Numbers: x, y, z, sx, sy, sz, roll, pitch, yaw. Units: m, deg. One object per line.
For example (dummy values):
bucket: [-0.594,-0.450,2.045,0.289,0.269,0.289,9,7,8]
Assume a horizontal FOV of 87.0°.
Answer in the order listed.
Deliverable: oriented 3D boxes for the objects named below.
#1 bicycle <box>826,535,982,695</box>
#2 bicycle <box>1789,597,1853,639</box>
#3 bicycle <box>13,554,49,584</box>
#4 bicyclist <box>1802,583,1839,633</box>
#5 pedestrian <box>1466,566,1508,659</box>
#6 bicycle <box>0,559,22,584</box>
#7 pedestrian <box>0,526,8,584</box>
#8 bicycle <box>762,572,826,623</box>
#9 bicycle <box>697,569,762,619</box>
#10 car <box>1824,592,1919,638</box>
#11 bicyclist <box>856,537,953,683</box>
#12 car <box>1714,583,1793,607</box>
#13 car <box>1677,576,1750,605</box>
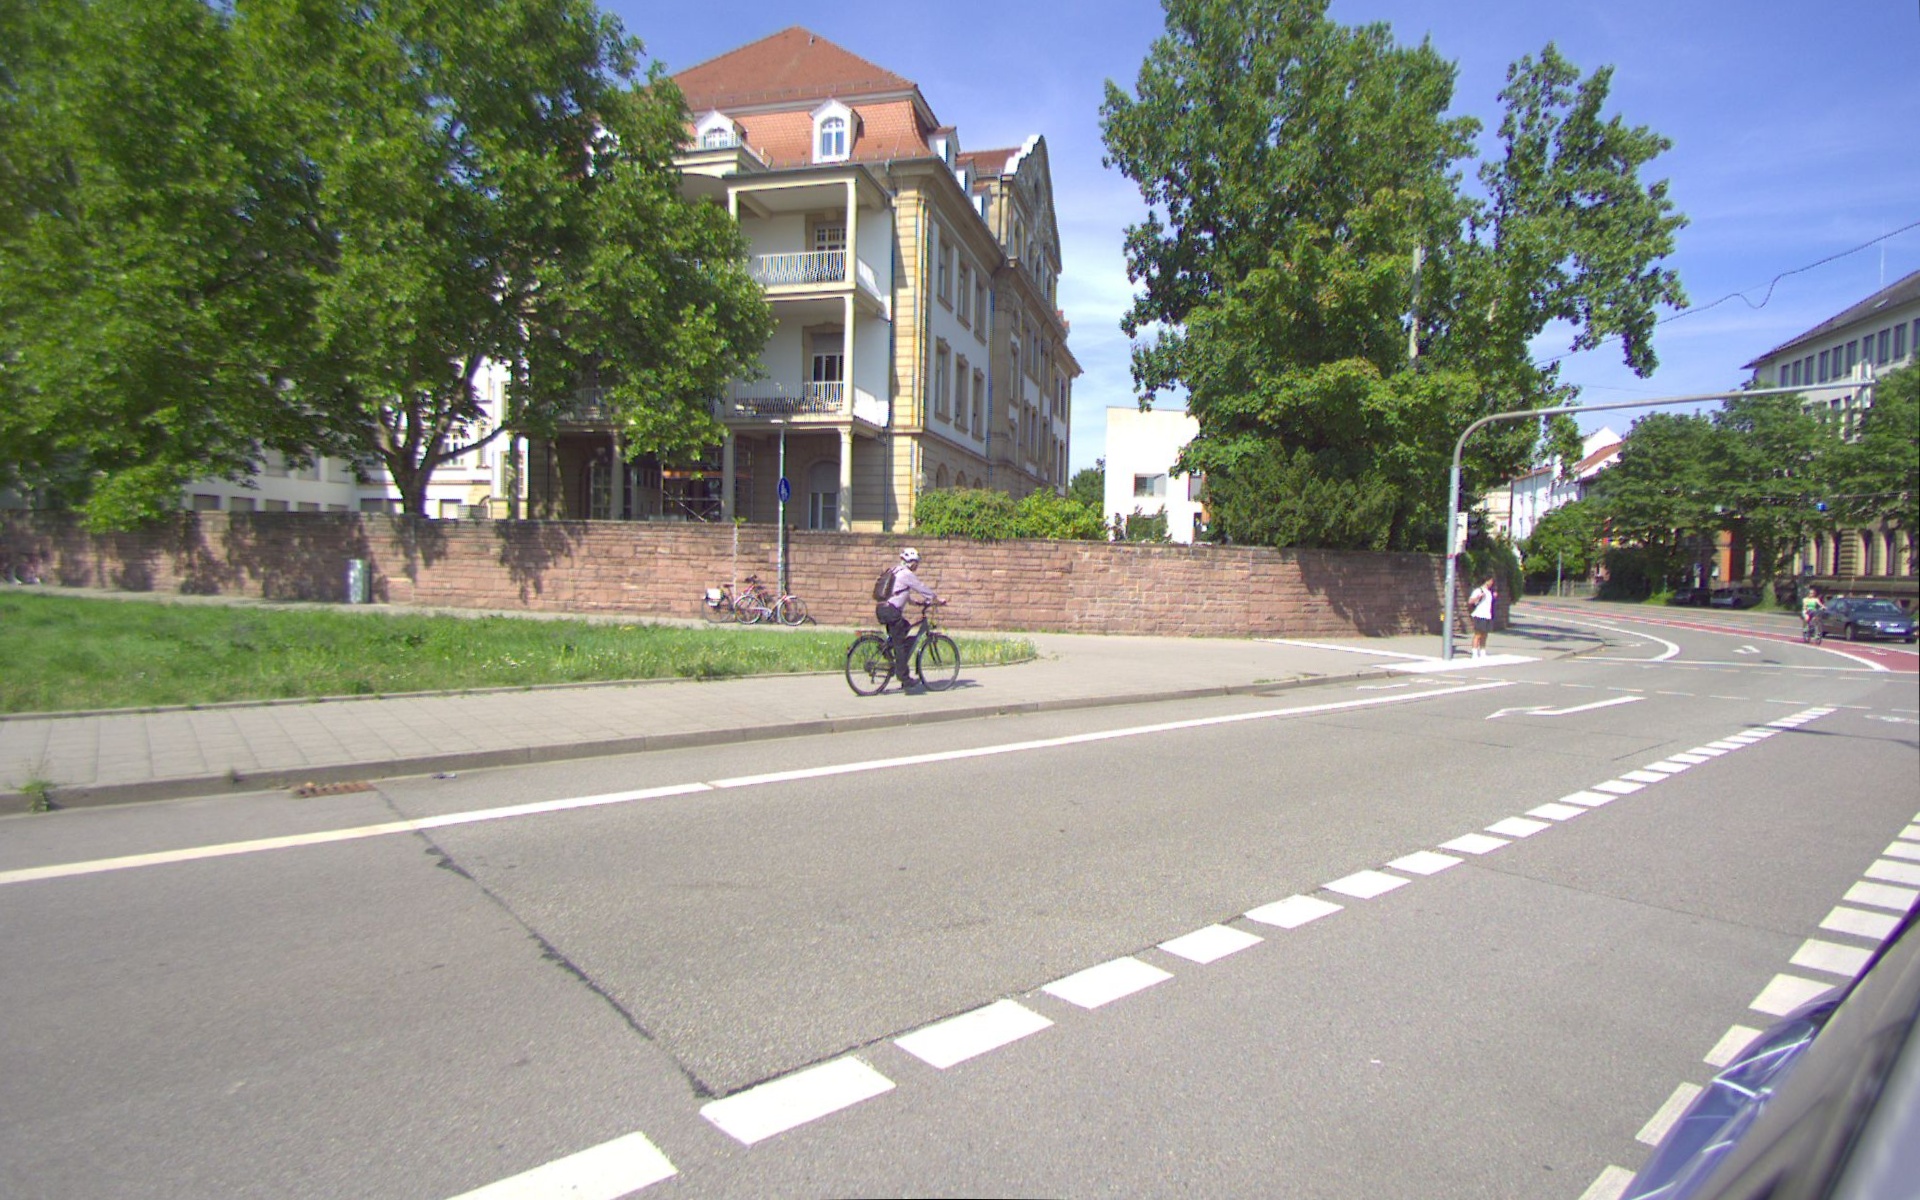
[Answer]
bicycle: [-0.650,0.147,12.146,1.779,1.787,0.679,0,2,-41]
bicycle: [27.610,0.558,32.481,0.677,1.237,2.176,2,2,16]
bicycle: [-28.557,-0.947,31.102,1.294,0.866,0.369,3,2,25]
bicyclist: [27.584,0.240,32.448,0.580,1.567,0.926,0,1,17]
pedestrian: [11.280,0.250,21.667,0.649,1.897,0.788,4,3,31]
bicycle: [-29.904,-0.901,31.643,1.350,0.737,0.338,3,2,23]
pedestrian: [-29.401,-1.374,30.654,0.592,1.761,0.616,2,2,20]
bicycle: [-3.836,-0.064,23.437,1.406,1.136,0.350,2,2,-6]
bicycle: [-5.319,-0.135,23.348,1.406,1.136,0.350,1,2,-27]
car: [31.021,0.461,34.139,1.785,1.393,4.239,1,2,26]
bicyclist: [-0.669,0.100,12.145,0.903,1.675,0.679,0,2,-41]
car: [57.321,-0.365,73.148,3.941,1.482,1.992,2,2,14]
car: [58.540,-0.784,78.697,3.941,2.038,1.992,2,2,14]
